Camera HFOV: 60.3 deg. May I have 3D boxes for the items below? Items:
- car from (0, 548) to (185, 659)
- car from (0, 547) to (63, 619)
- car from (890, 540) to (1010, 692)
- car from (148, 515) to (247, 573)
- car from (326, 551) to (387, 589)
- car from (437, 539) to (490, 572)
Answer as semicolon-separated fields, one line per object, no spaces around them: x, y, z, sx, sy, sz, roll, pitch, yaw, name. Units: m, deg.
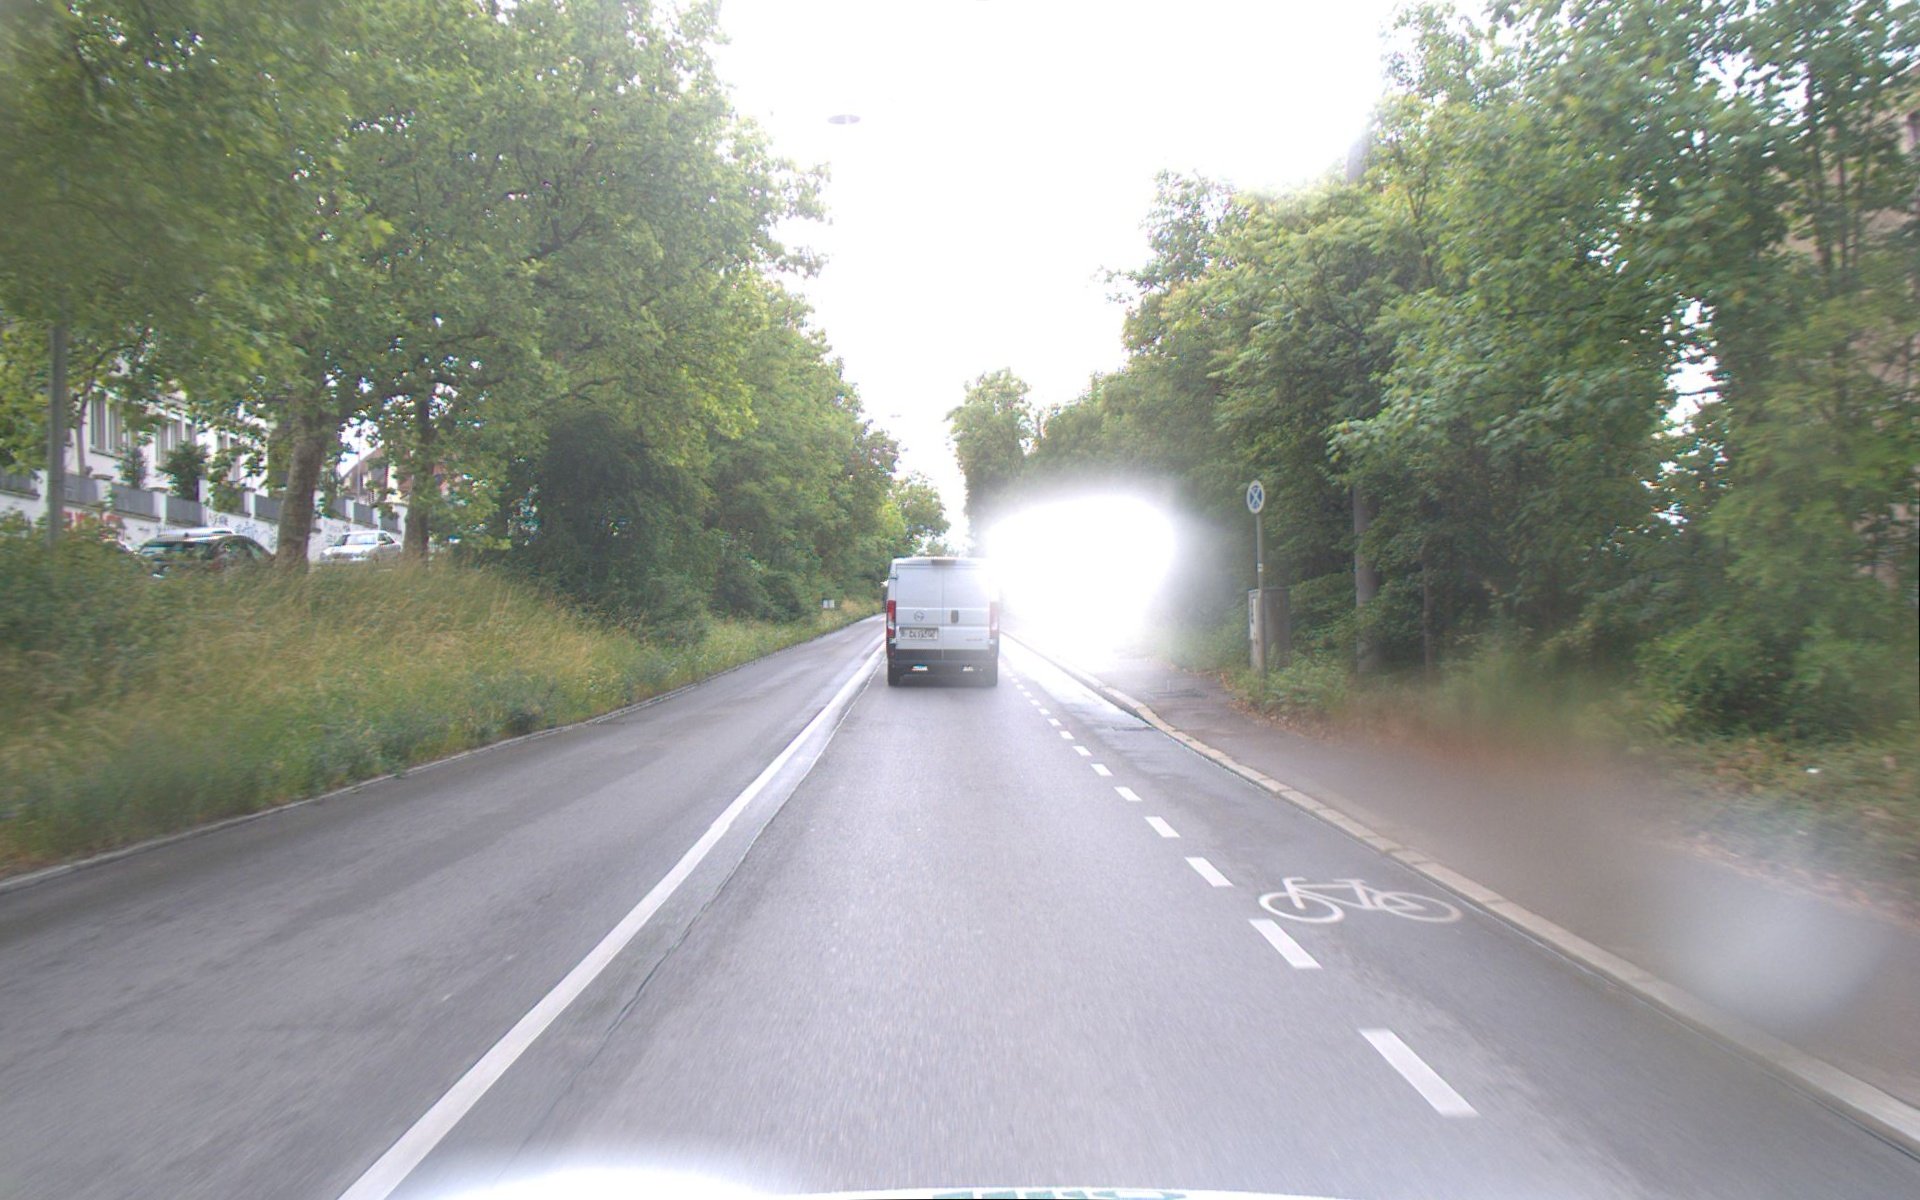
-12.564;0.100;23.445;1.669;1.429;3.442;-2;-2;-3;car
-19.378;-0.329;32.963;1.332;1.333;3.085;-2;-2;-1;car
-0.196;0.239;31.020;2.008;2.560;4.943;2;1;-1;car
-20.114;-1.457;43.735;1.355;1.321;3.012;-2;-2;-4;car
-20.582;-1.020;56.442;1.189;1.153;2.451;-2;-2;-1;car
-21.668;-1.932;72.232;1.568;1.272;2.908;-2;-2;-4;car
